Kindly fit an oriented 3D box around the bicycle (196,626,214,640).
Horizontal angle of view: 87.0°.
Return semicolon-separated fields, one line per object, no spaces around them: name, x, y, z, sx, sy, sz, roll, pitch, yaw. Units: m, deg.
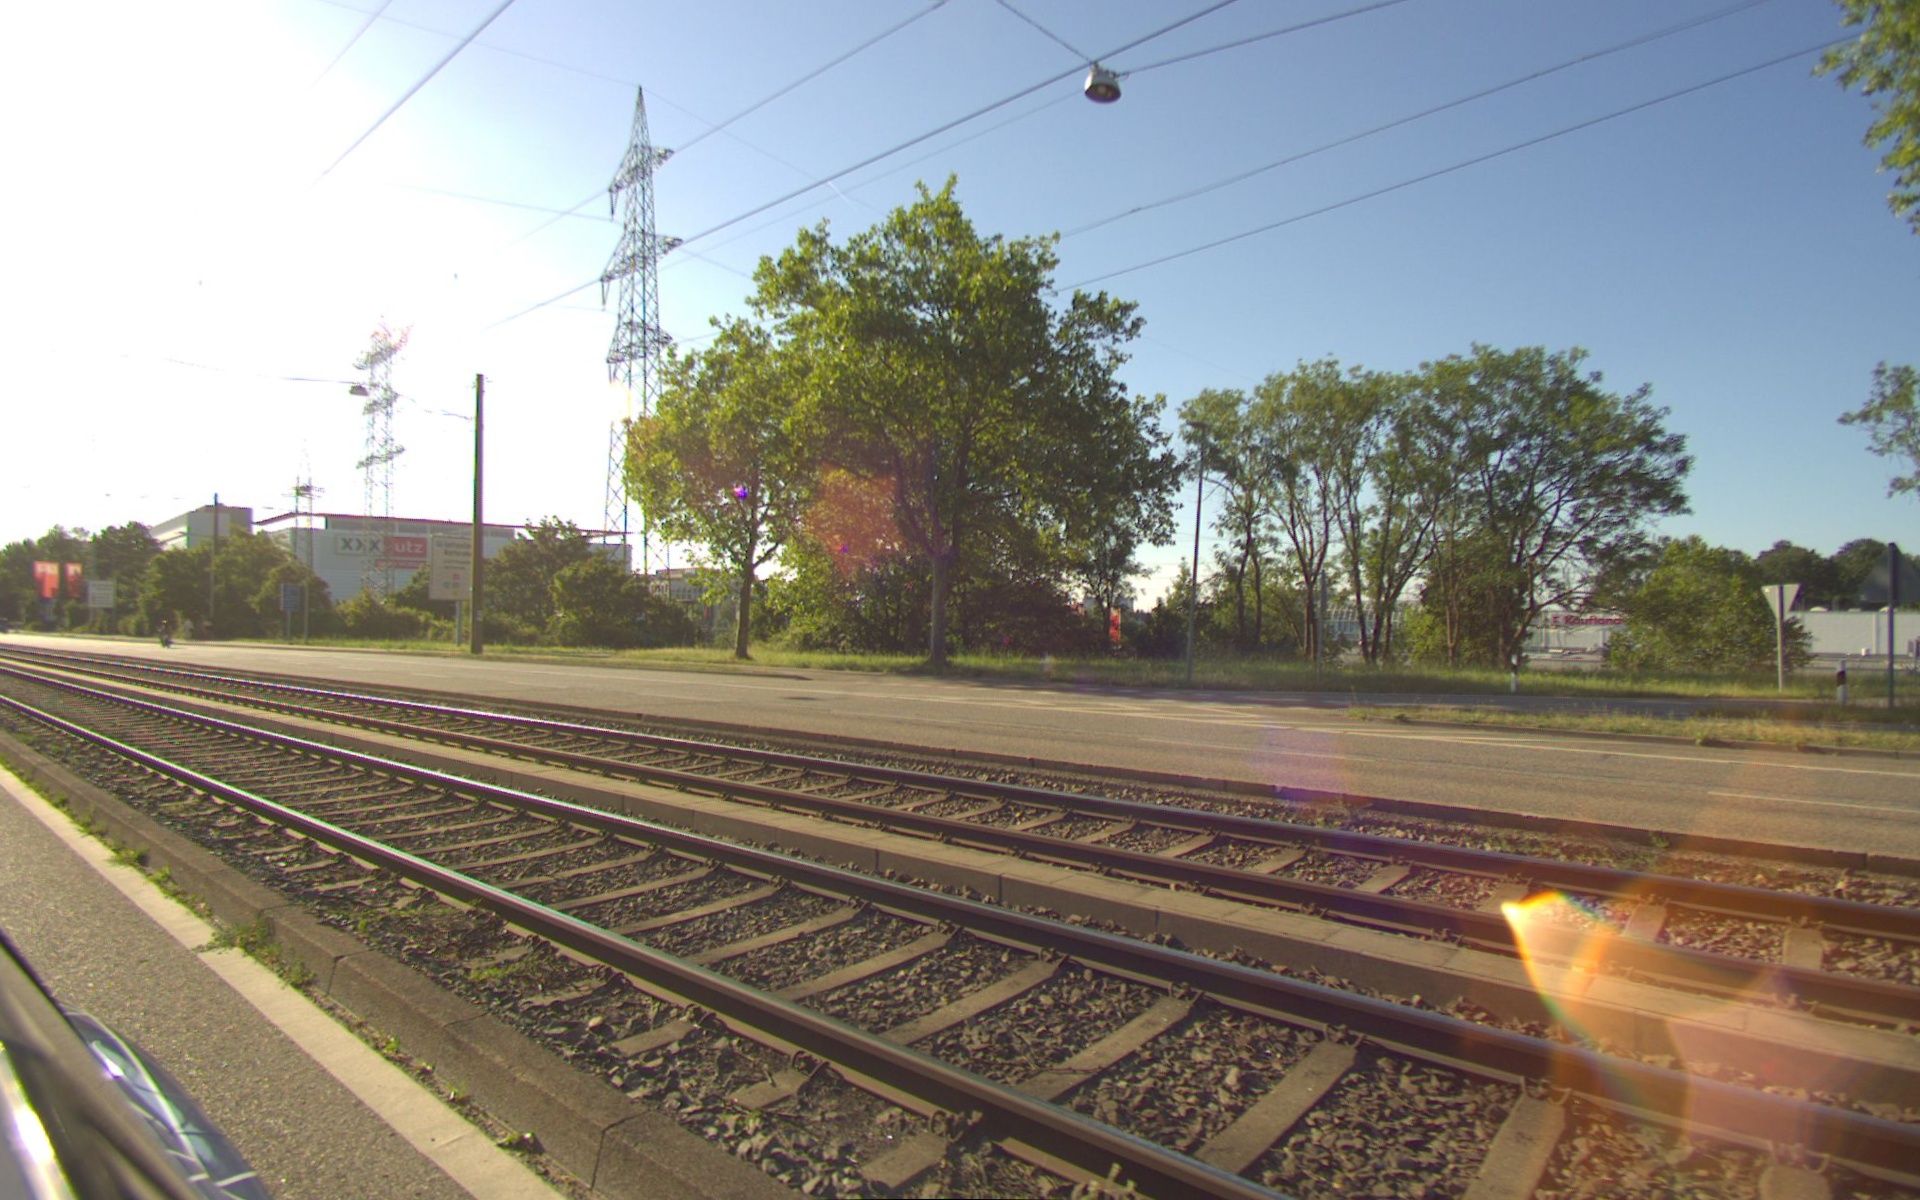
bicycle;-56.598;2.441;75.890;2.184;1.029;0.584;-1;-2;41

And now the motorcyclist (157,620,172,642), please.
motorcyclist;-46.652;1.822;59.380;0.804;1.280;0.530;-1;0;41

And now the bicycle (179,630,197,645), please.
bicycle;-56.587;2.749;74.169;2.184;1.029;0.584;-1;-2;41

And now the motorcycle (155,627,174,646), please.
motorcycle;-46.727;2.142;59.454;1.901;1.099;0.530;-1;1;41

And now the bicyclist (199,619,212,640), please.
bicyclist;-56.533;2.187;75.837;0.905;1.540;0.584;-1;-2;40

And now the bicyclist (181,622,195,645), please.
bicyclist;-56.528;2.438;74.131;0.966;1.623;0.584;-1;-2;40

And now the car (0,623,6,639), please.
car;-121.431;3.911;127.128;4.859;1.937;1.972;-3;-3;43
